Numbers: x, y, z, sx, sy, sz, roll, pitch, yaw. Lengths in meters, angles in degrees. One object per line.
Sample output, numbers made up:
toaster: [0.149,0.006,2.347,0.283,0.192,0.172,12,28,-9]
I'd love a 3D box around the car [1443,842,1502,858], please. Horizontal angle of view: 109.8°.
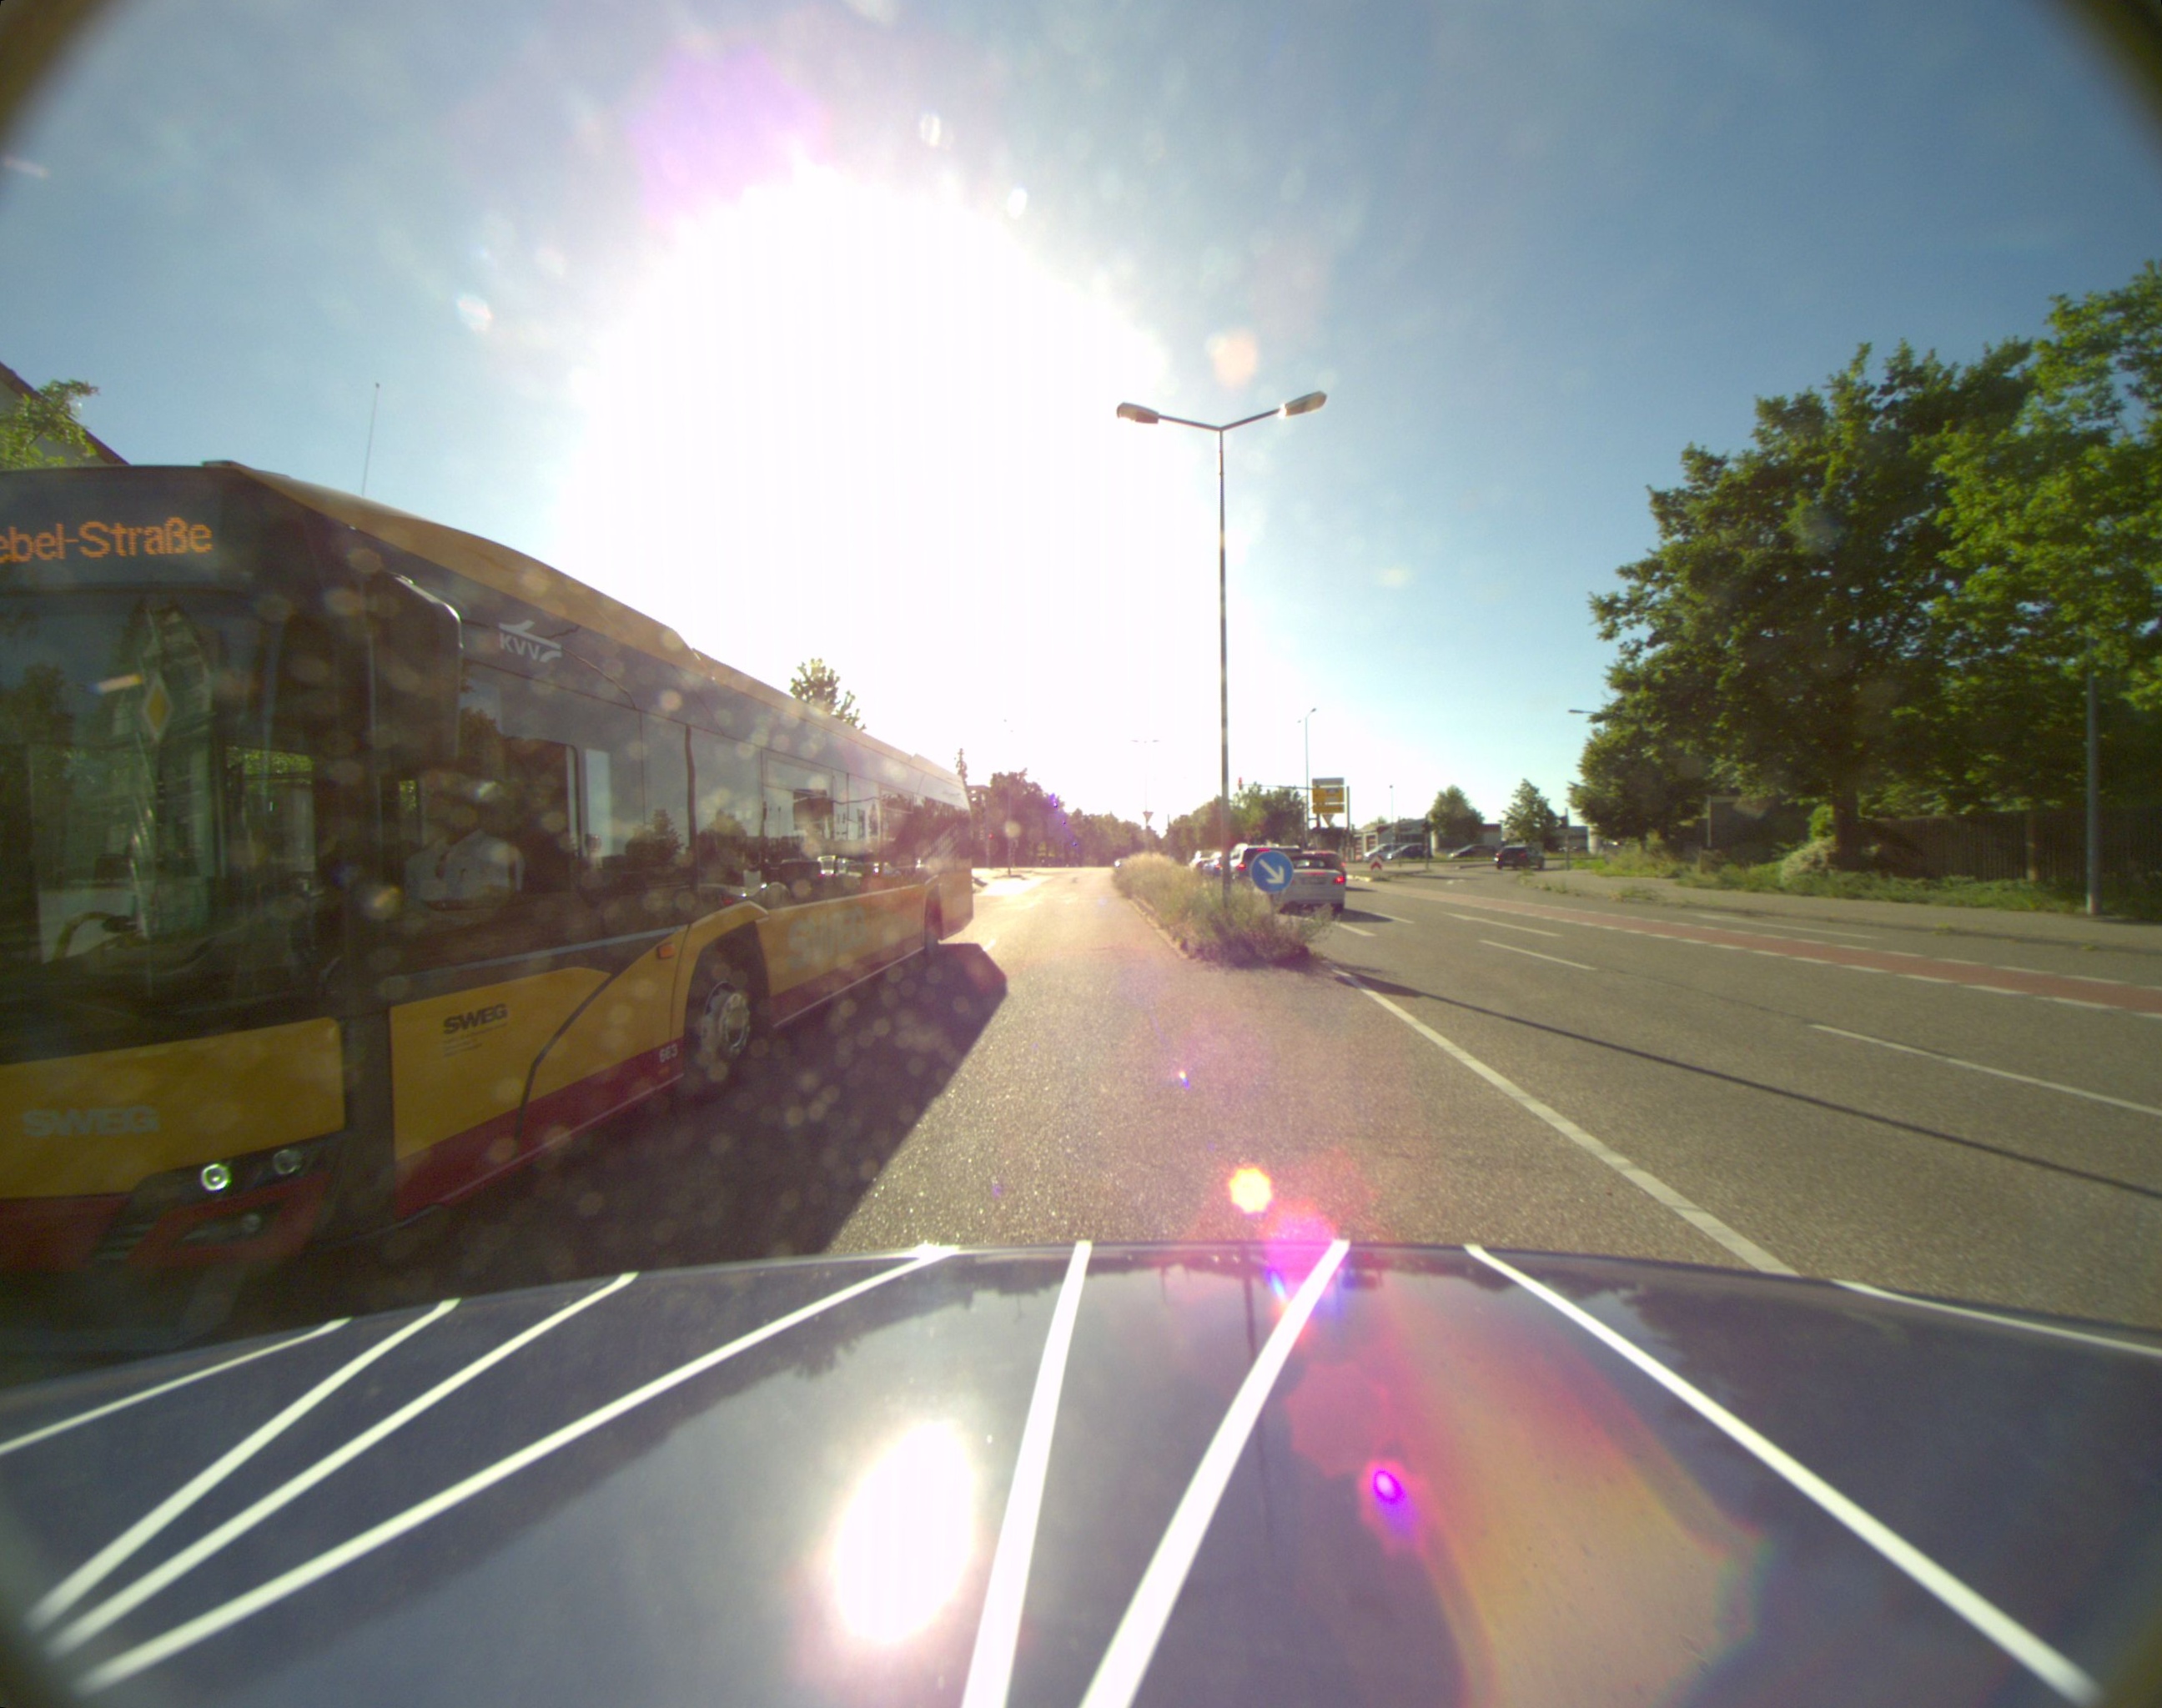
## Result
car: [33.011,-0.312,64.145,4.037,1.267,1.894,-1,-2,0]

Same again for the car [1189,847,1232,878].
car: [6.686,0.394,39.592,1.797,1.497,4.531,-1,0,4]

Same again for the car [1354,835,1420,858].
car: [28.526,-0.660,70.933,5.272,2.001,2.048,-1,-2,0]

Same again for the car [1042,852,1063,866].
car: [-3.202,0.553,86.194,1.775,1.477,4.217,0,0,6]

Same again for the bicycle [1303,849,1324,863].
bicycle: [13.932,0.101,45.587,0.750,0.843,1.990,-1,0,3]

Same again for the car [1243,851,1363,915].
car: [5.496,0.647,19.400,1.998,1.442,4.400,-1,0,3]

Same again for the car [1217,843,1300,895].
car: [5.924,0.464,25.913,1.998,1.607,4.531,-1,0,3]

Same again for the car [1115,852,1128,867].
car: [5.686,0.721,106.178,1.729,2.002,4.000,0,1,2]

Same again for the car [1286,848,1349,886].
car: [9.602,0.492,31.068,1.649,1.474,3.714,-1,0,4]

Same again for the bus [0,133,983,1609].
bus: [-3.456,-0.043,8.003,2.764,3.439,12.396,0,1,2]

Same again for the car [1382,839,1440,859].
car: [27.733,-0.406,63.908,4.037,1.634,1.894,-1,-2,0]

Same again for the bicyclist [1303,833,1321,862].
bicyclist: [13.922,-0.395,45.774,0.746,1.692,1.242,-1,1,3]

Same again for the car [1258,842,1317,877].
car: [10.291,0.249,38.238,1.998,1.634,4.531,-1,0,4]

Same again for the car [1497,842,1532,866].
car: [26.247,-0.023,46.043,1.710,1.422,4.007,1,1,29]

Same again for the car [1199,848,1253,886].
car: [5.985,0.490,31.689,1.750,1.474,3.889,-1,0,4]
